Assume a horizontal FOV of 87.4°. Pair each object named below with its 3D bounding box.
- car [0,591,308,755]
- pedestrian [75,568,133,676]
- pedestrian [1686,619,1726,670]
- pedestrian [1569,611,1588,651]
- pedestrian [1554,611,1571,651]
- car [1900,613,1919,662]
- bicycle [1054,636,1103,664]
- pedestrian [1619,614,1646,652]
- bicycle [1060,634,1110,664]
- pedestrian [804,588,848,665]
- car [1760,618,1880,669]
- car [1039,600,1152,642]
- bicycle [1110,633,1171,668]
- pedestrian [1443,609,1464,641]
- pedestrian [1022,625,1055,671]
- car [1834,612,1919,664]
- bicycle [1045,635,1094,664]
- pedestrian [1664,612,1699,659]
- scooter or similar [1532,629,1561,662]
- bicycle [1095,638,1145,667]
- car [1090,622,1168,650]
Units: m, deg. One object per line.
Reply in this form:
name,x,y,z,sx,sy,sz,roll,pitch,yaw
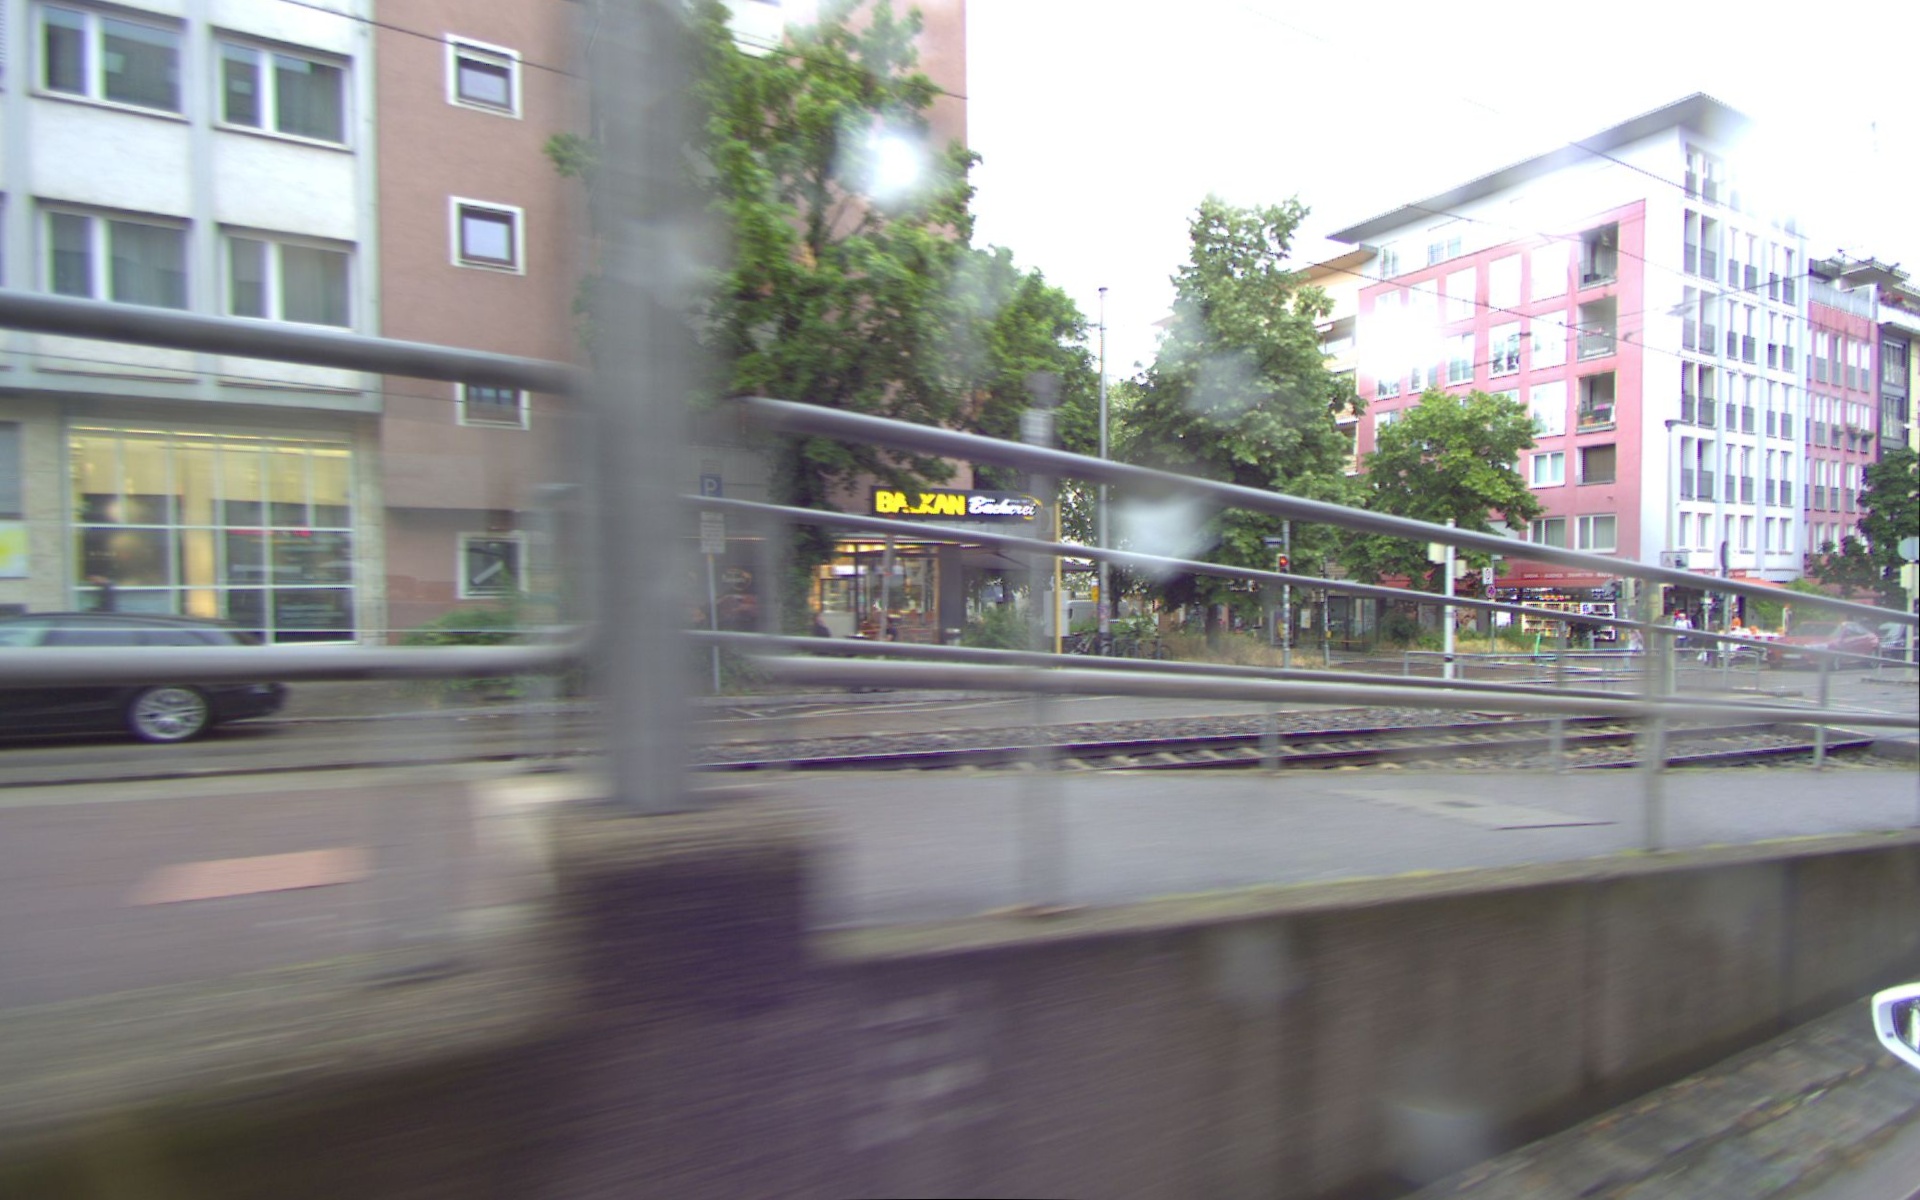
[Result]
car,-9.760,0.739,10.948,4.319,1.645,1.631,1,-1,-30
pedestrian,-12.849,0.334,15.093,0.579,1.578,0.694,1,-1,-36
pedestrian,25.180,1.489,33.909,0.791,1.653,0.882,-1,1,12
pedestrian,26.012,1.289,42.250,0.535,1.653,0.574,2,1,24
pedestrian,25.707,1.313,42.846,0.570,1.653,0.609,2,1,34
car,38.962,1.464,39.605,4.333,1.883,1.792,1,-1,-33
bicycle,3.746,1.578,31.626,1.626,0.854,0.336,1,-1,-28
pedestrian,26.586,1.295,39.734,0.649,1.481,0.635,1,1,-32
bicycle,3.897,1.528,31.275,1.626,0.923,0.338,1,-1,-28
pedestrian,-2.889,0.572,21.663,0.808,1.617,0.556,1,-1,-29
car,29.970,1.466,34.987,4.497,1.633,1.719,0,-1,-29
car,8.553,1.336,63.306,7.011,2.567,2.405,1,-1,-29
bicycle,5.186,1.437,28.780,1.851,0.972,0.477,1,-1,-30
pedestrian,22.304,1.138,45.407,0.643,1.424,0.556,1,1,-32
pedestrian,2.077,1.263,26.601,0.600,1.193,0.674,1,-1,-24
car,34.732,1.392,37.779,4.274,1.883,1.698,1,-1,-33
bicycle,3.495,1.566,32.014,1.626,0.915,0.338,1,-1,-28
pedestrian,27.699,1.356,38.550,0.977,1.720,0.813,1,1,-38
scooter or similar,21.914,1.696,37.515,1.197,1.207,0.387,1,-1,-29
bicycle,4.730,1.543,29.632,1.627,0.827,0.337,1,-1,-30
car,8.636,1.820,51.626,1.975,1.392,3.972,1,-1,-28
